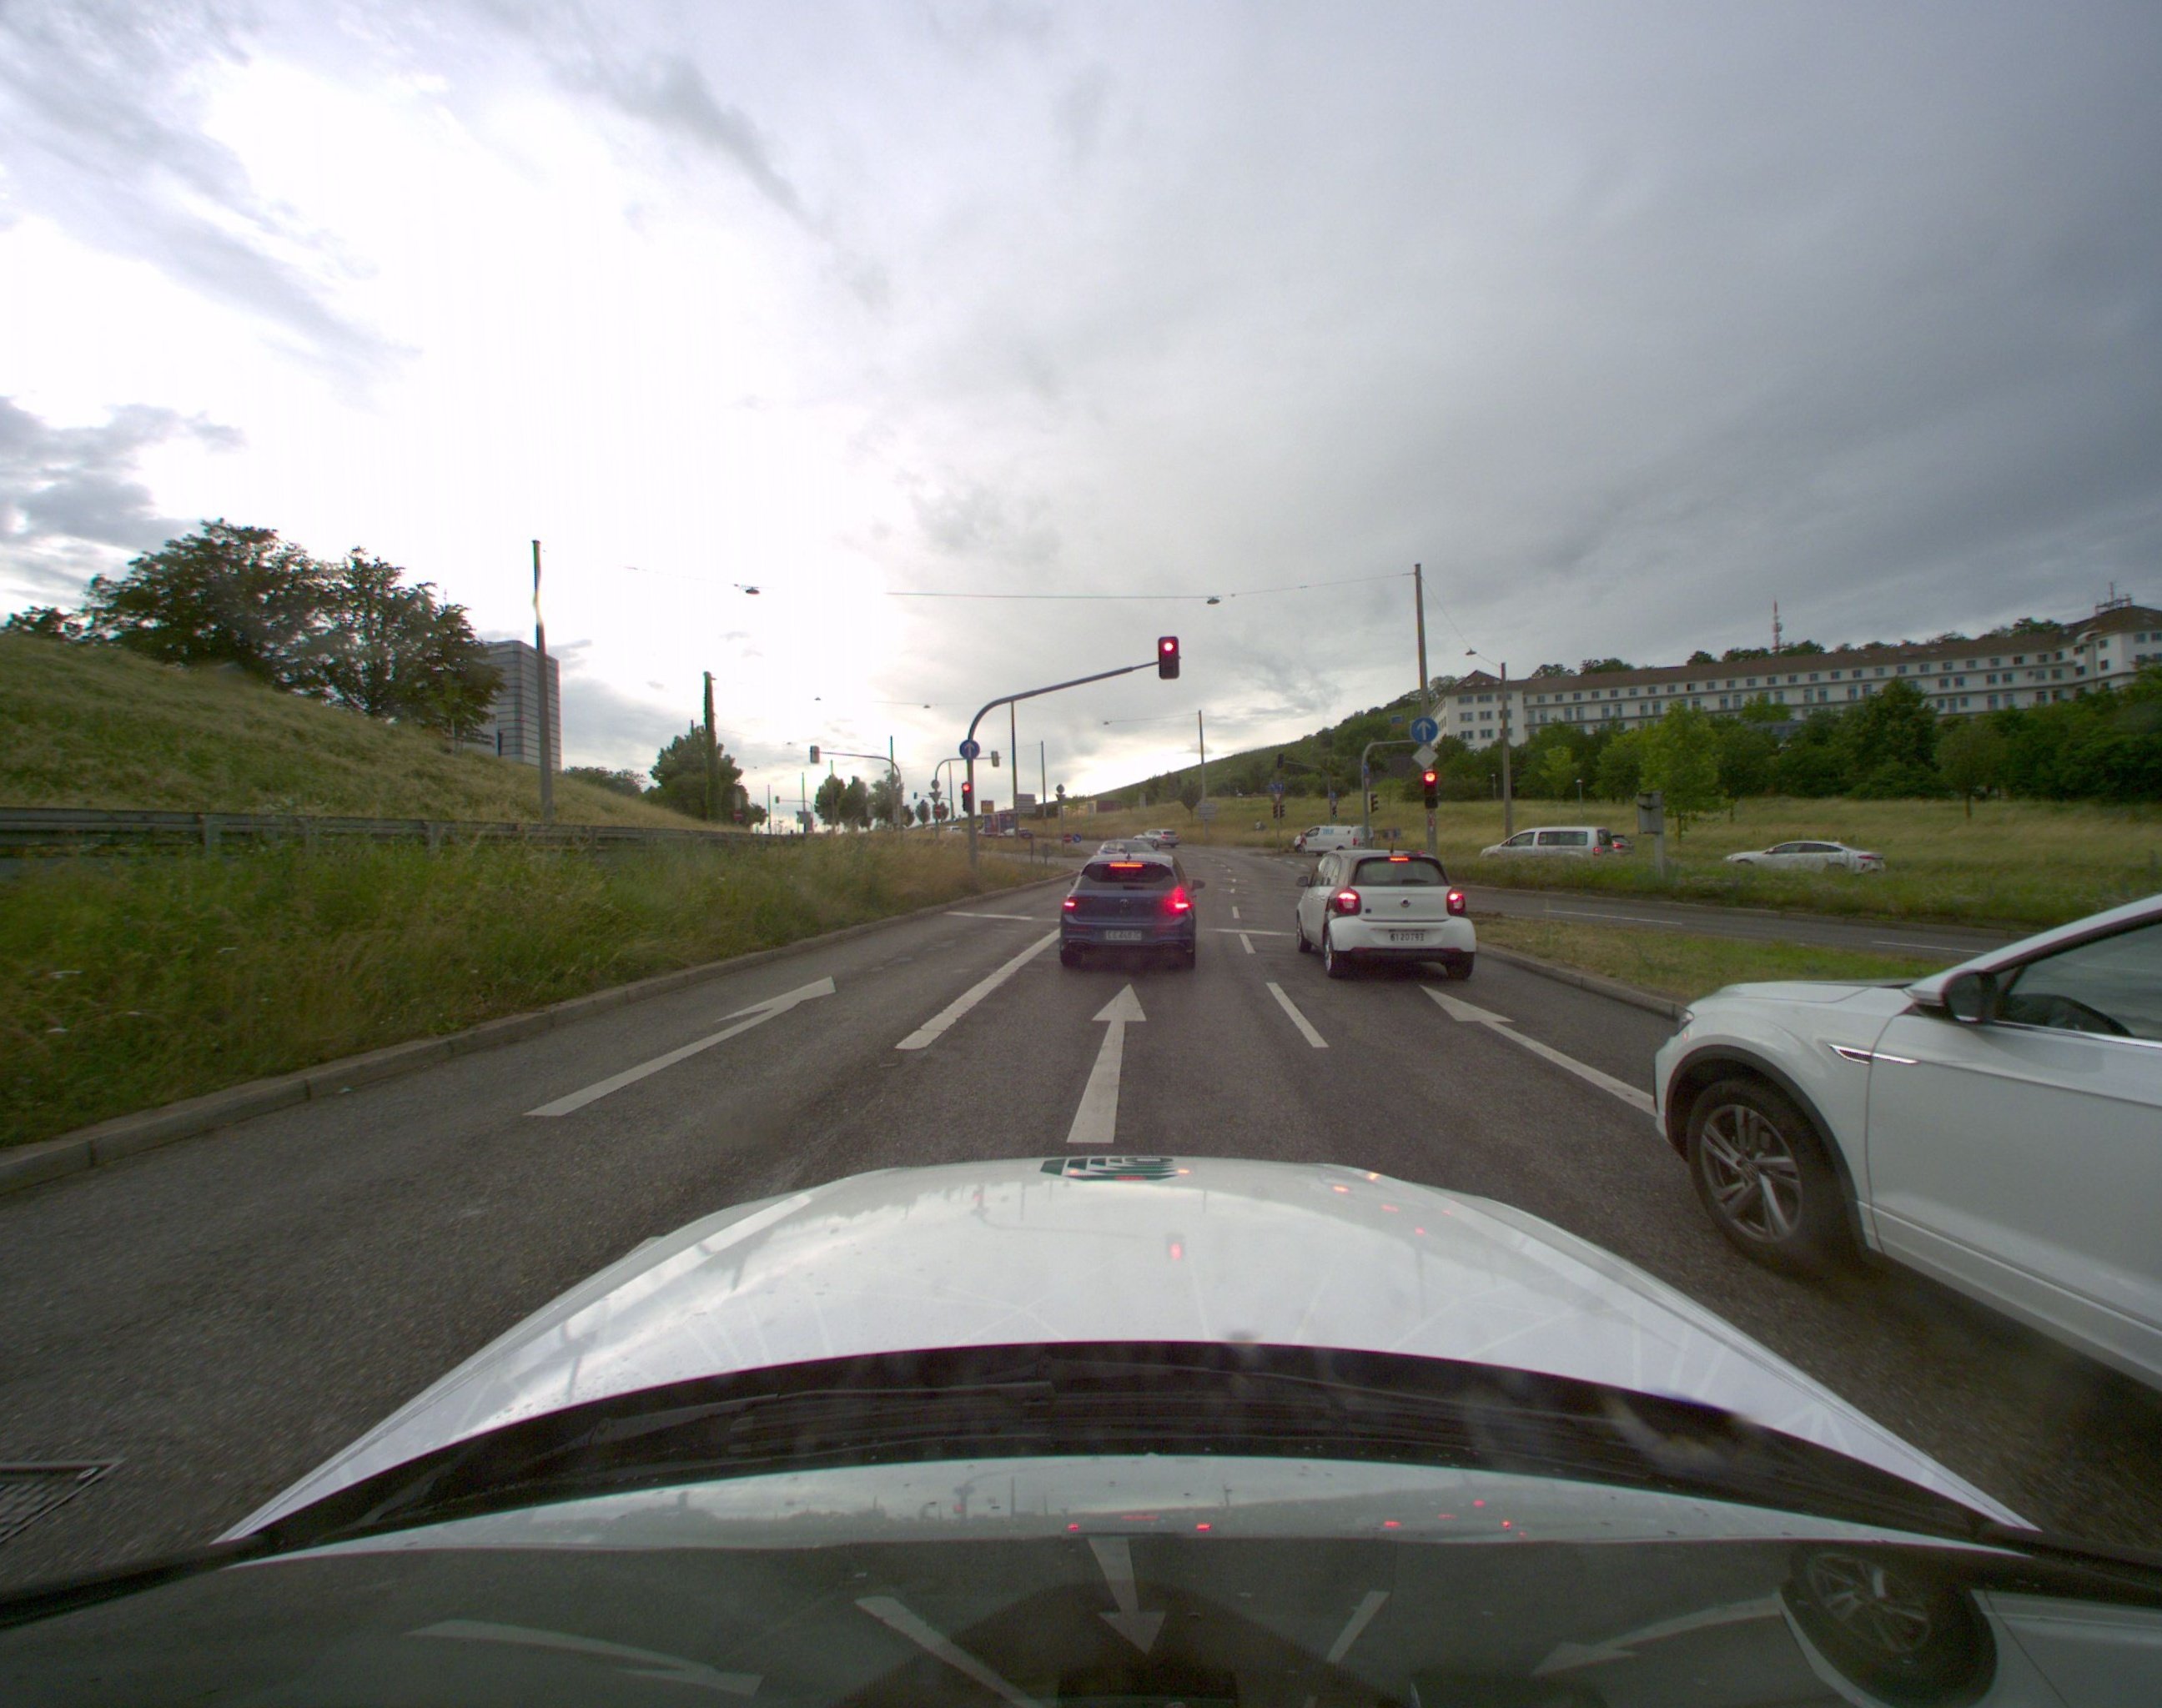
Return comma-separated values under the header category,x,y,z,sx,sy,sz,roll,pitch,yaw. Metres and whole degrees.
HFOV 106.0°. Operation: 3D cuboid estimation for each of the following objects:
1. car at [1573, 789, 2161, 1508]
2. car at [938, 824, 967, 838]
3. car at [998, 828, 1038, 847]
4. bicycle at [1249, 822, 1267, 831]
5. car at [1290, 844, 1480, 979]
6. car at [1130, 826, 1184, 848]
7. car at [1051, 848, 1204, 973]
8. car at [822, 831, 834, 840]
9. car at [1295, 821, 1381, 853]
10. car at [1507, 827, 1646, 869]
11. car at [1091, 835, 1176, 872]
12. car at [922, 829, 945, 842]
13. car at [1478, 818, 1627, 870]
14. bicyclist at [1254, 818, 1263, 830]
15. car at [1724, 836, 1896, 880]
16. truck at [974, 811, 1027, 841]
category,x,y,z,sx,sy,sz,roll,pitch,yaw
car,3.181,0.629,1.750,1.707,1.553,4.229,-1,0,0
car,-16.286,-2.907,102.902,2.007,1.659,4.499,0,-1,-31
car,-5.997,-1.516,77.314,2.007,1.659,4.310,0,-1,-31
bicycle,16.225,-2.498,74.608,0.522,0.775,1.603,1,1,-38
car,3.847,0.658,10.870,1.648,1.503,3.458,-1,0,8
car,6.017,-1.310,65.078,2.007,1.659,4.499,0,-1,-31
car,0.806,0.665,11.645,1.815,1.460,3.817,-1,1,8
car,-53.512,-3.929,172.317,1.764,1.706,3.702,2,1,-27
car,15.396,-0.972,49.036,2.142,1.794,4.694,0,-1,-30
car,20.330,-0.205,33.572,2.009,1.620,4.474,0,-1,-37
car,2.155,-0.010,34.815,1.704,1.475,4.254,0,0,-27
car,-20.859,-2.555,114.997,2.005,1.659,4.504,0,-1,-27
car,18.221,-0.341,31.664,1.830,1.850,4.645,0,-1,-37
bicyclist,16.278,-2.760,74.532,0.527,1.046,0.574,2,0,-38
car,26.791,0.155,30.075,2.007,1.477,4.375,0,-1,-33
truck,-8.882,-3.098,89.409,3.280,3.074,6.114,2,1,-33
